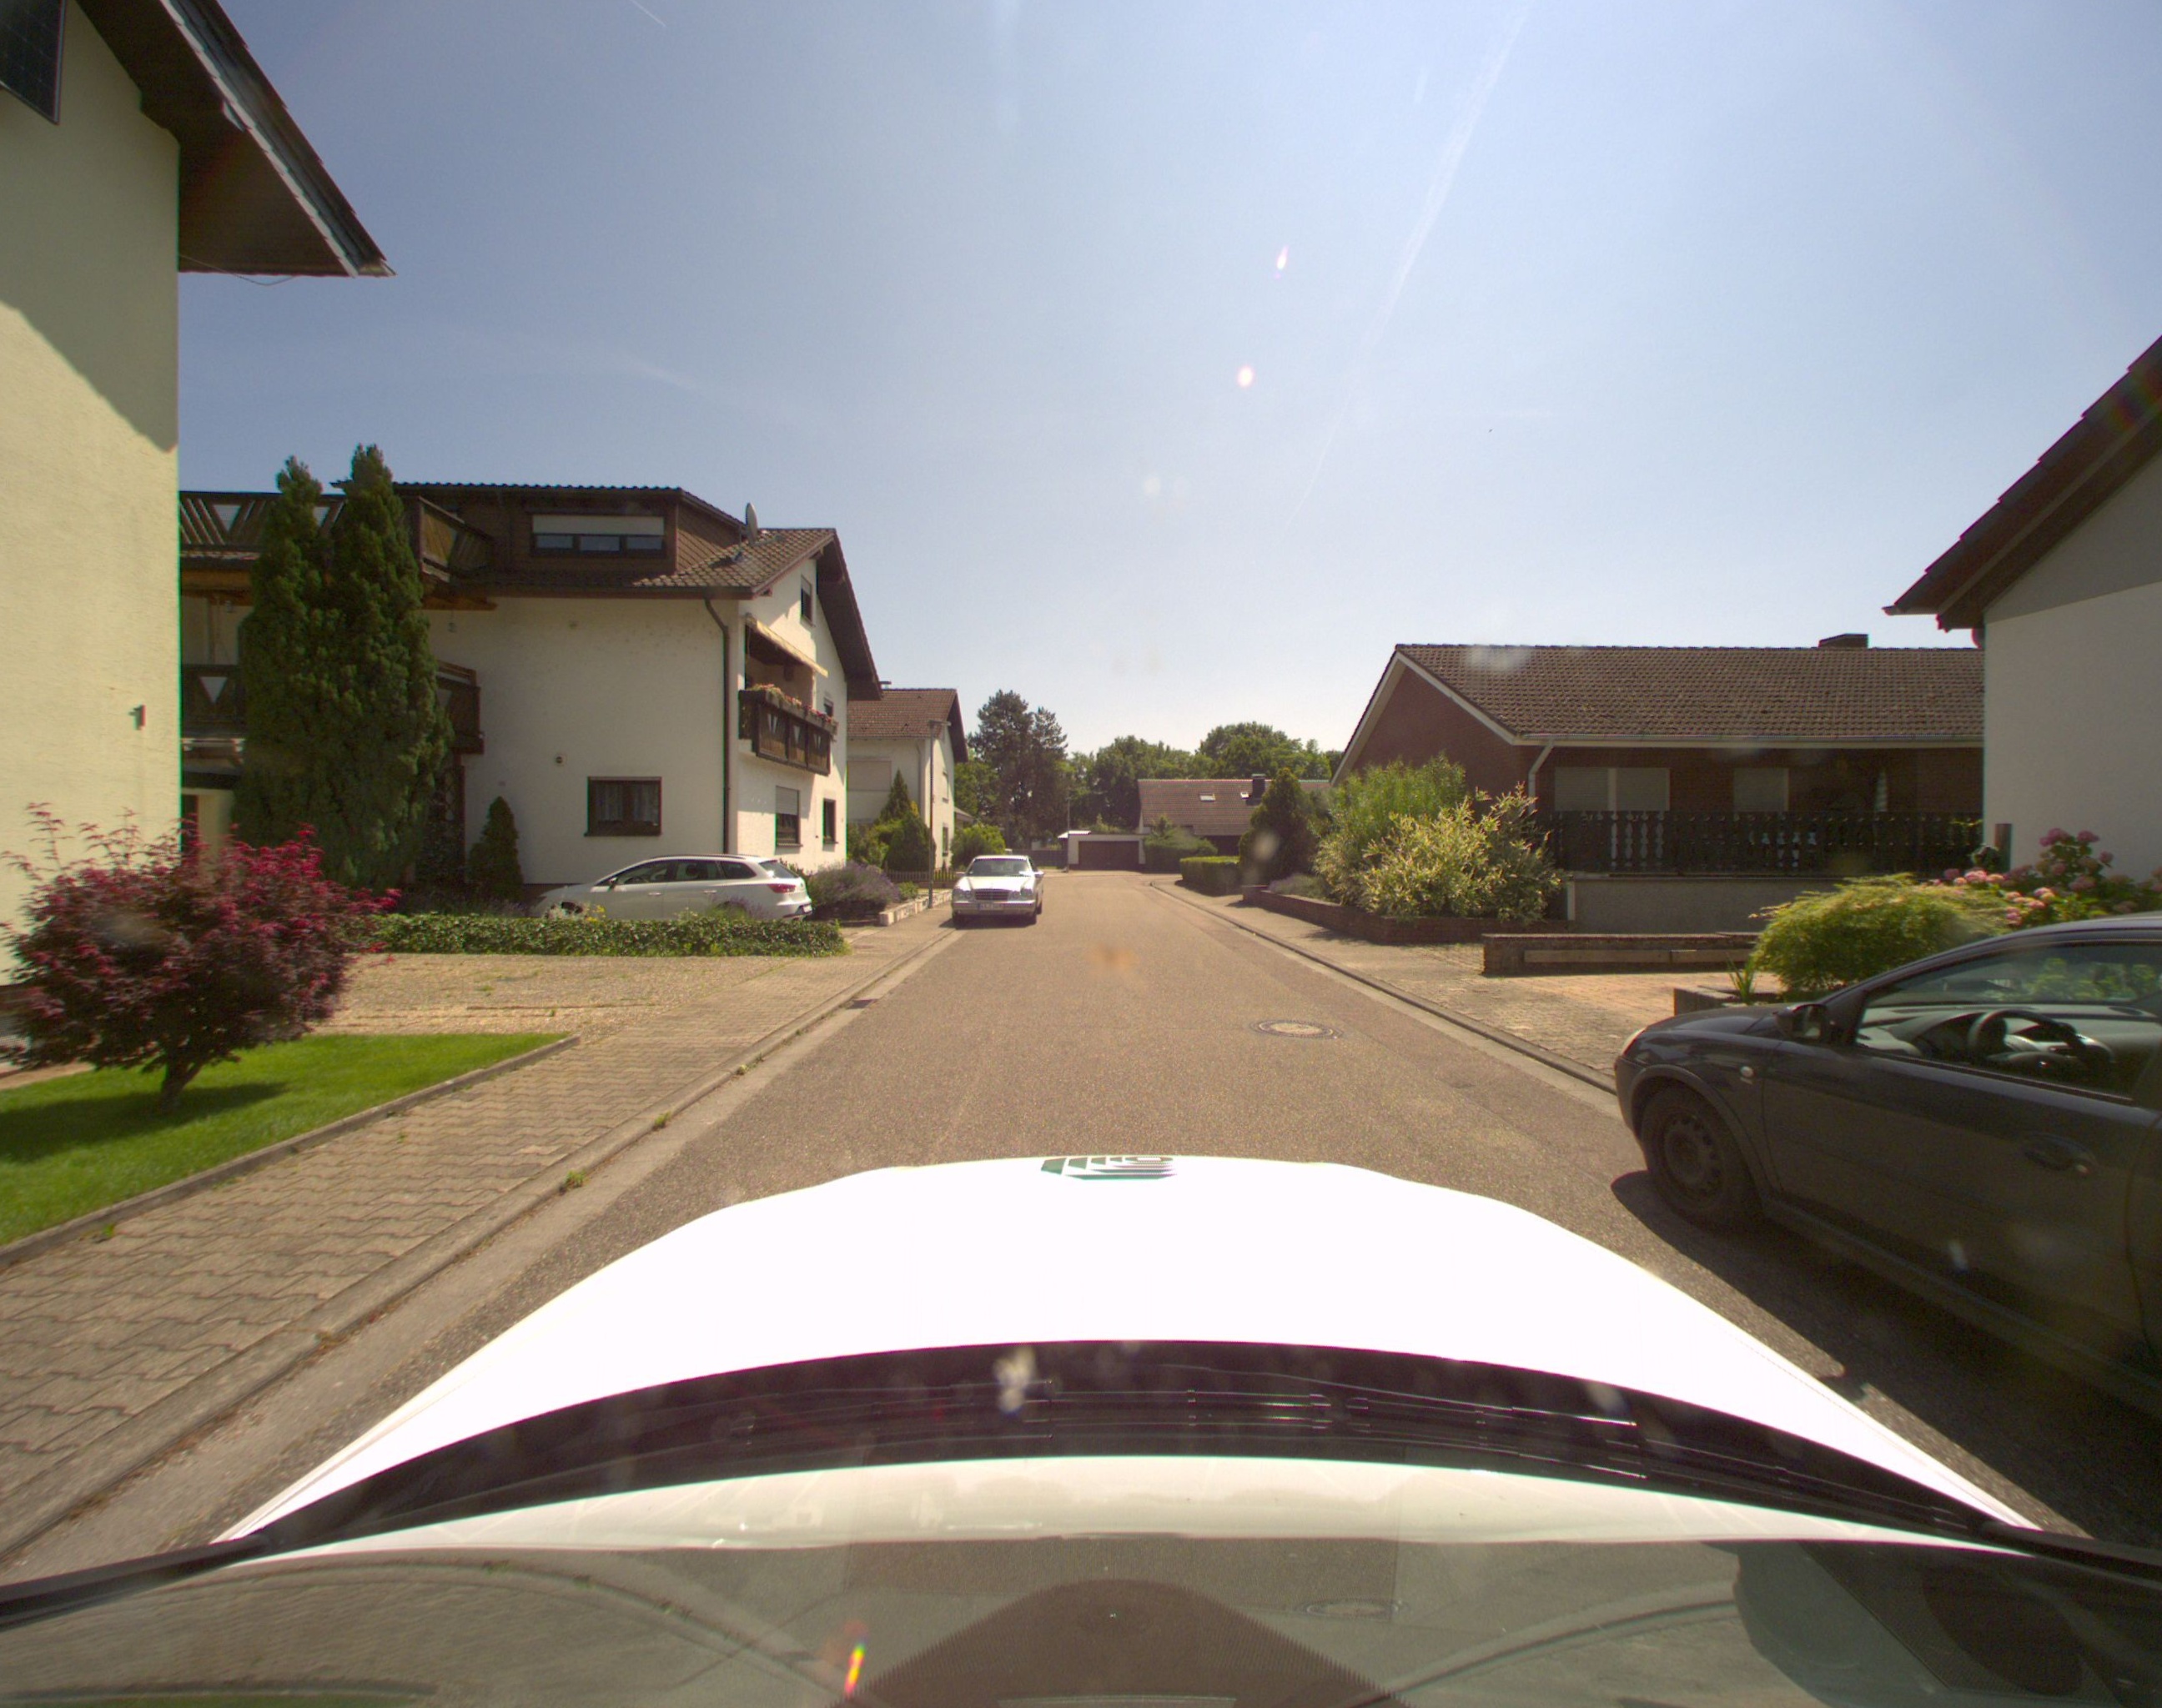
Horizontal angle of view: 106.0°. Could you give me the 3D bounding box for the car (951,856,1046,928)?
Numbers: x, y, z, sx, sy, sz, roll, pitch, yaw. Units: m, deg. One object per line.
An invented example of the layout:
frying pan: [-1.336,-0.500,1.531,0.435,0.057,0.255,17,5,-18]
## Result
car: [-1.740,0.772,18.434,1.693,1.393,4.337,0,0,0]

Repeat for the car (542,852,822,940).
car: [-6.799,0.693,14.282,3.982,1.420,1.842,0,0,-6]

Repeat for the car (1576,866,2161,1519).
car: [3.287,0.795,2.250,1.645,1.440,3.651,0,0,0]
